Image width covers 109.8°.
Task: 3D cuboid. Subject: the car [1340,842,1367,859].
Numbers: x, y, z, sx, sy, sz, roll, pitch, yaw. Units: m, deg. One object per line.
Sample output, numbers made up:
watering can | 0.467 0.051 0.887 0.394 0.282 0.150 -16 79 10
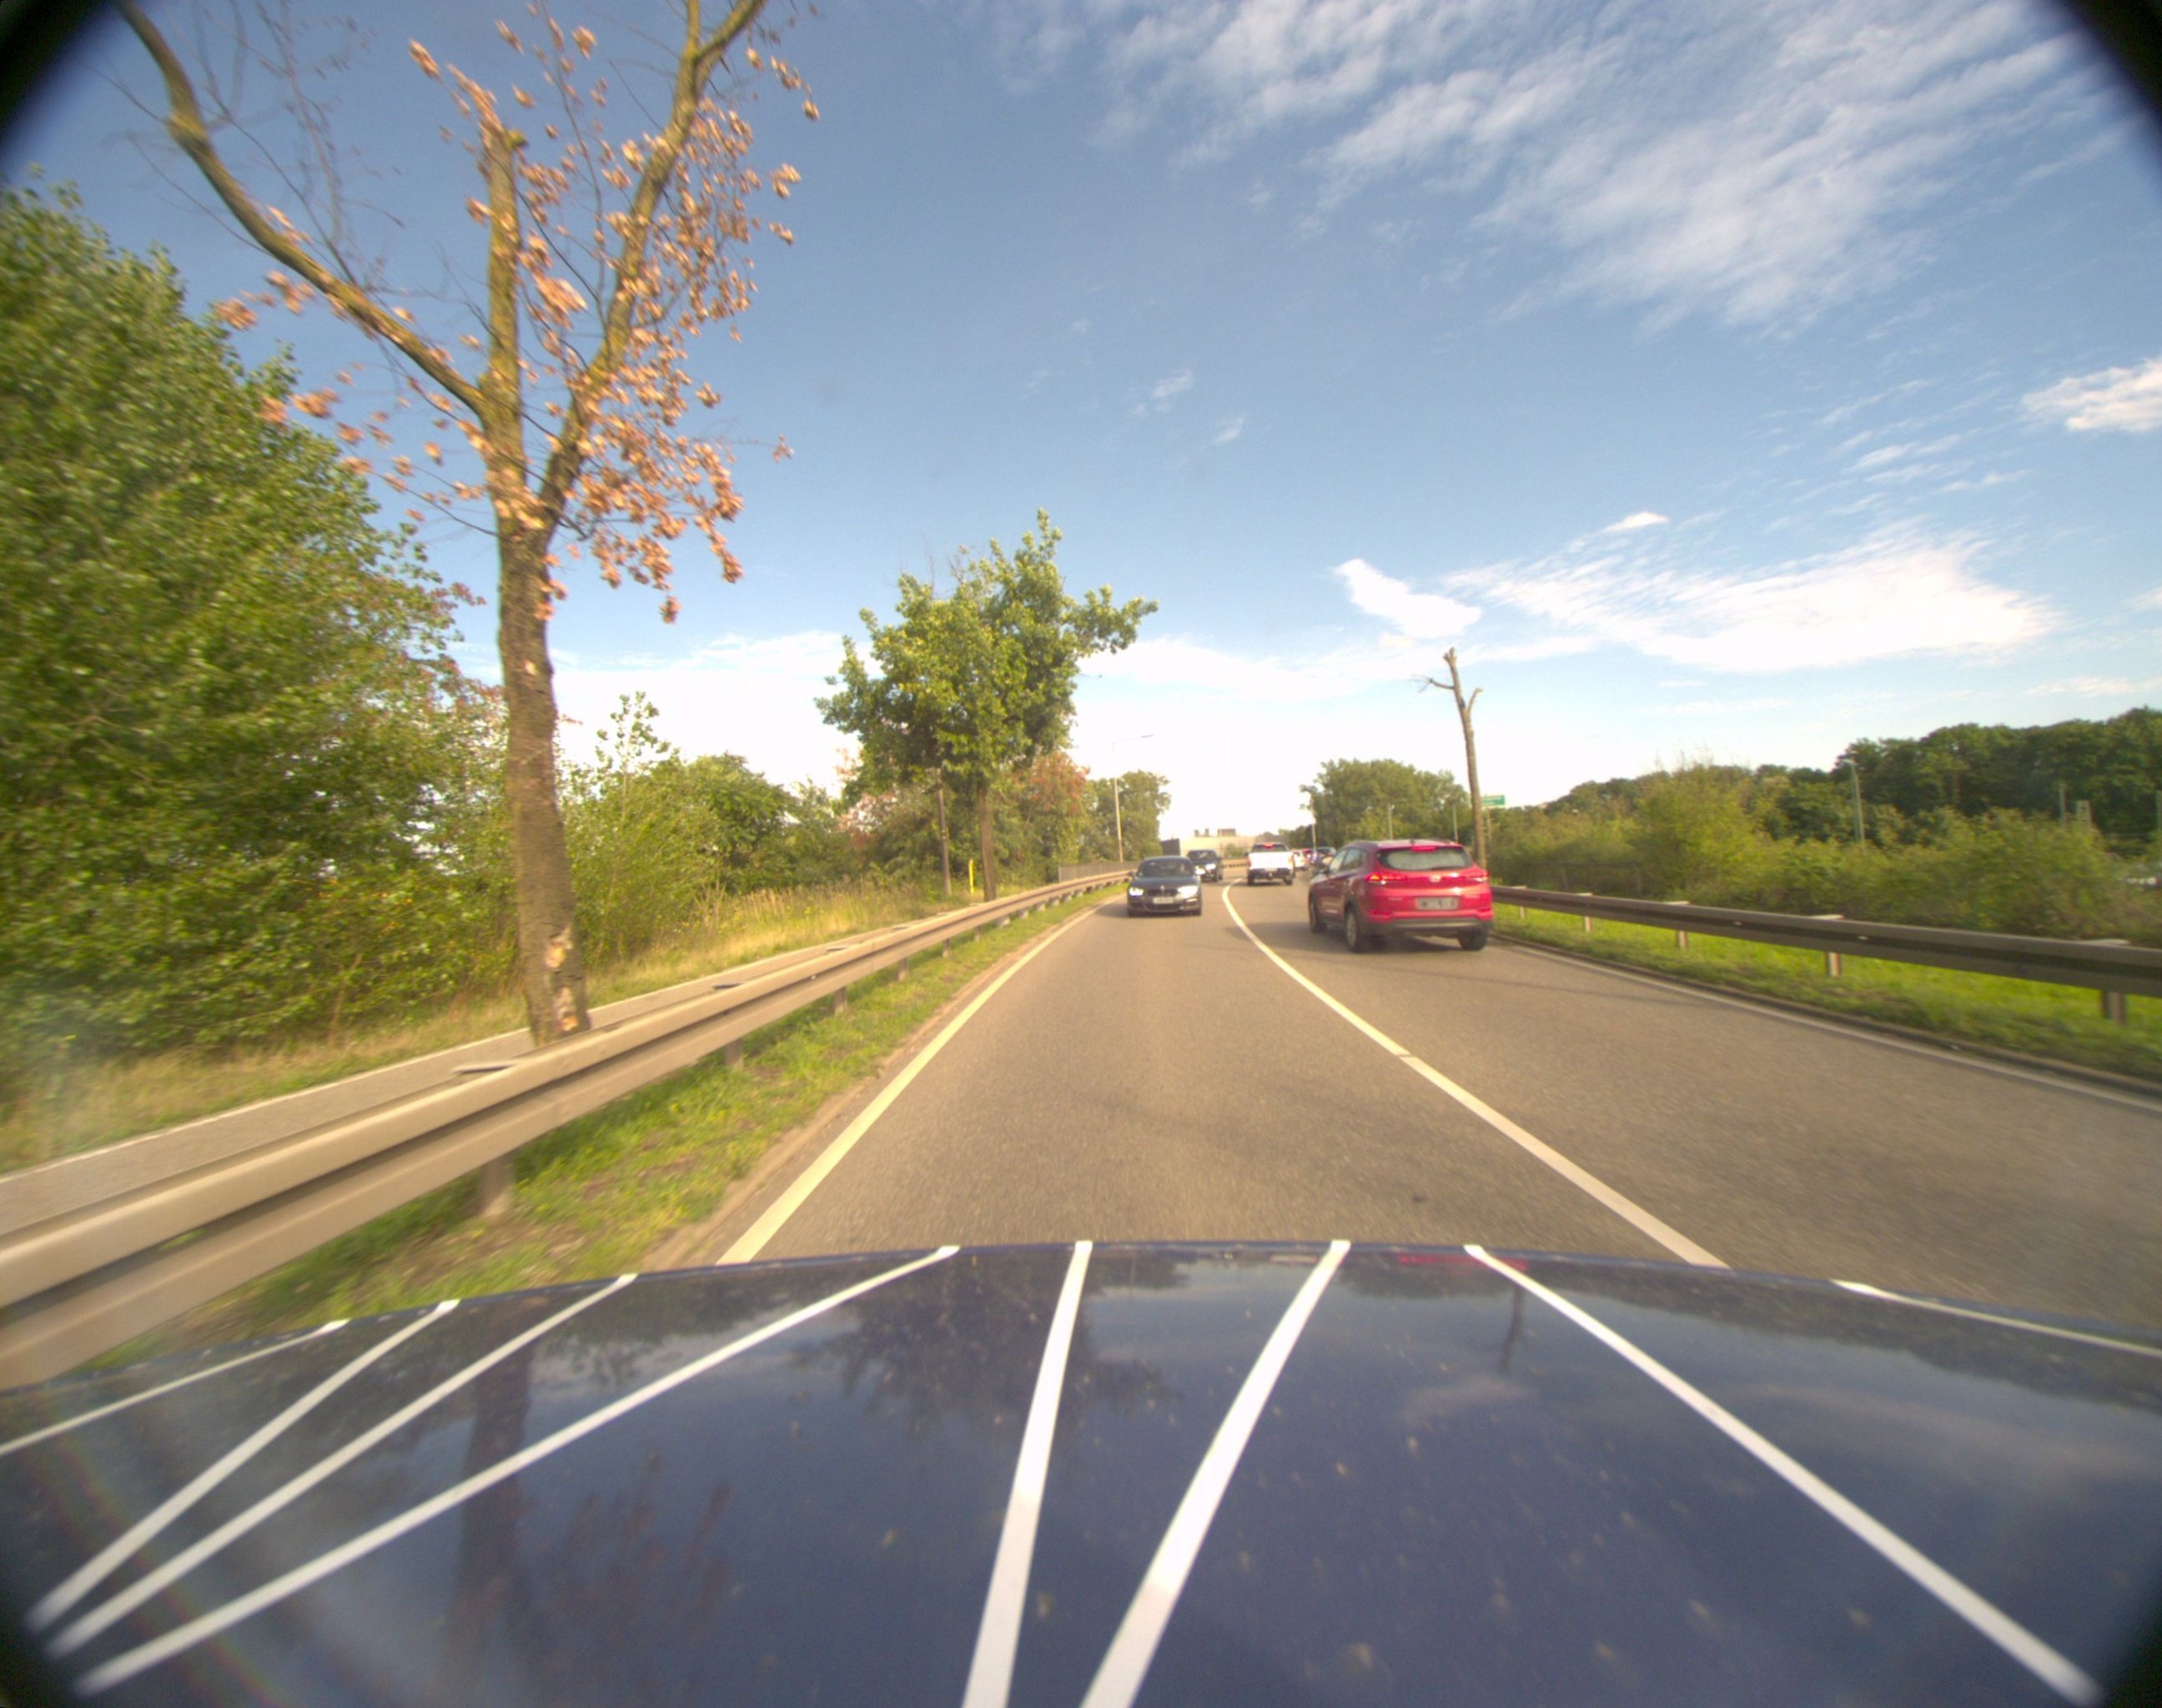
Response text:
car | 28.387 -0.400 79.035 1.682 1.639 4.306 -1 0 34

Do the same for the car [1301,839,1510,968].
car | 4.928 0.648 12.249 1.813 1.664 4.299 -2 0 5

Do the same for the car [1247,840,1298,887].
car | 8.230 0.342 33.067 1.904 1.800 5.408 -2 0 12

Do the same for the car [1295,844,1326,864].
car | 19.016 -0.032 62.853 1.800 1.511 4.014 -2 0 25

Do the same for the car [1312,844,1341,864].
car | 22.714 -0.024 70.094 1.927 1.639 4.596 -2 0 25

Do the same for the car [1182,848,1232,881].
car | 6.451 0.481 38.511 1.816 1.498 4.396 -2 0 18

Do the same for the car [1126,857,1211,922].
car | 2.312 0.817 19.221 1.784 1.396 3.974 -2 0 11

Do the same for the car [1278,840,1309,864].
car | 14.263 -0.159 50.872 1.600 1.456 3.742 -2 0 22

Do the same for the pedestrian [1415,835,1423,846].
pedestrian | 52.748 -2.077 118.534 0.867 1.652 0.677 -3 1 -39
